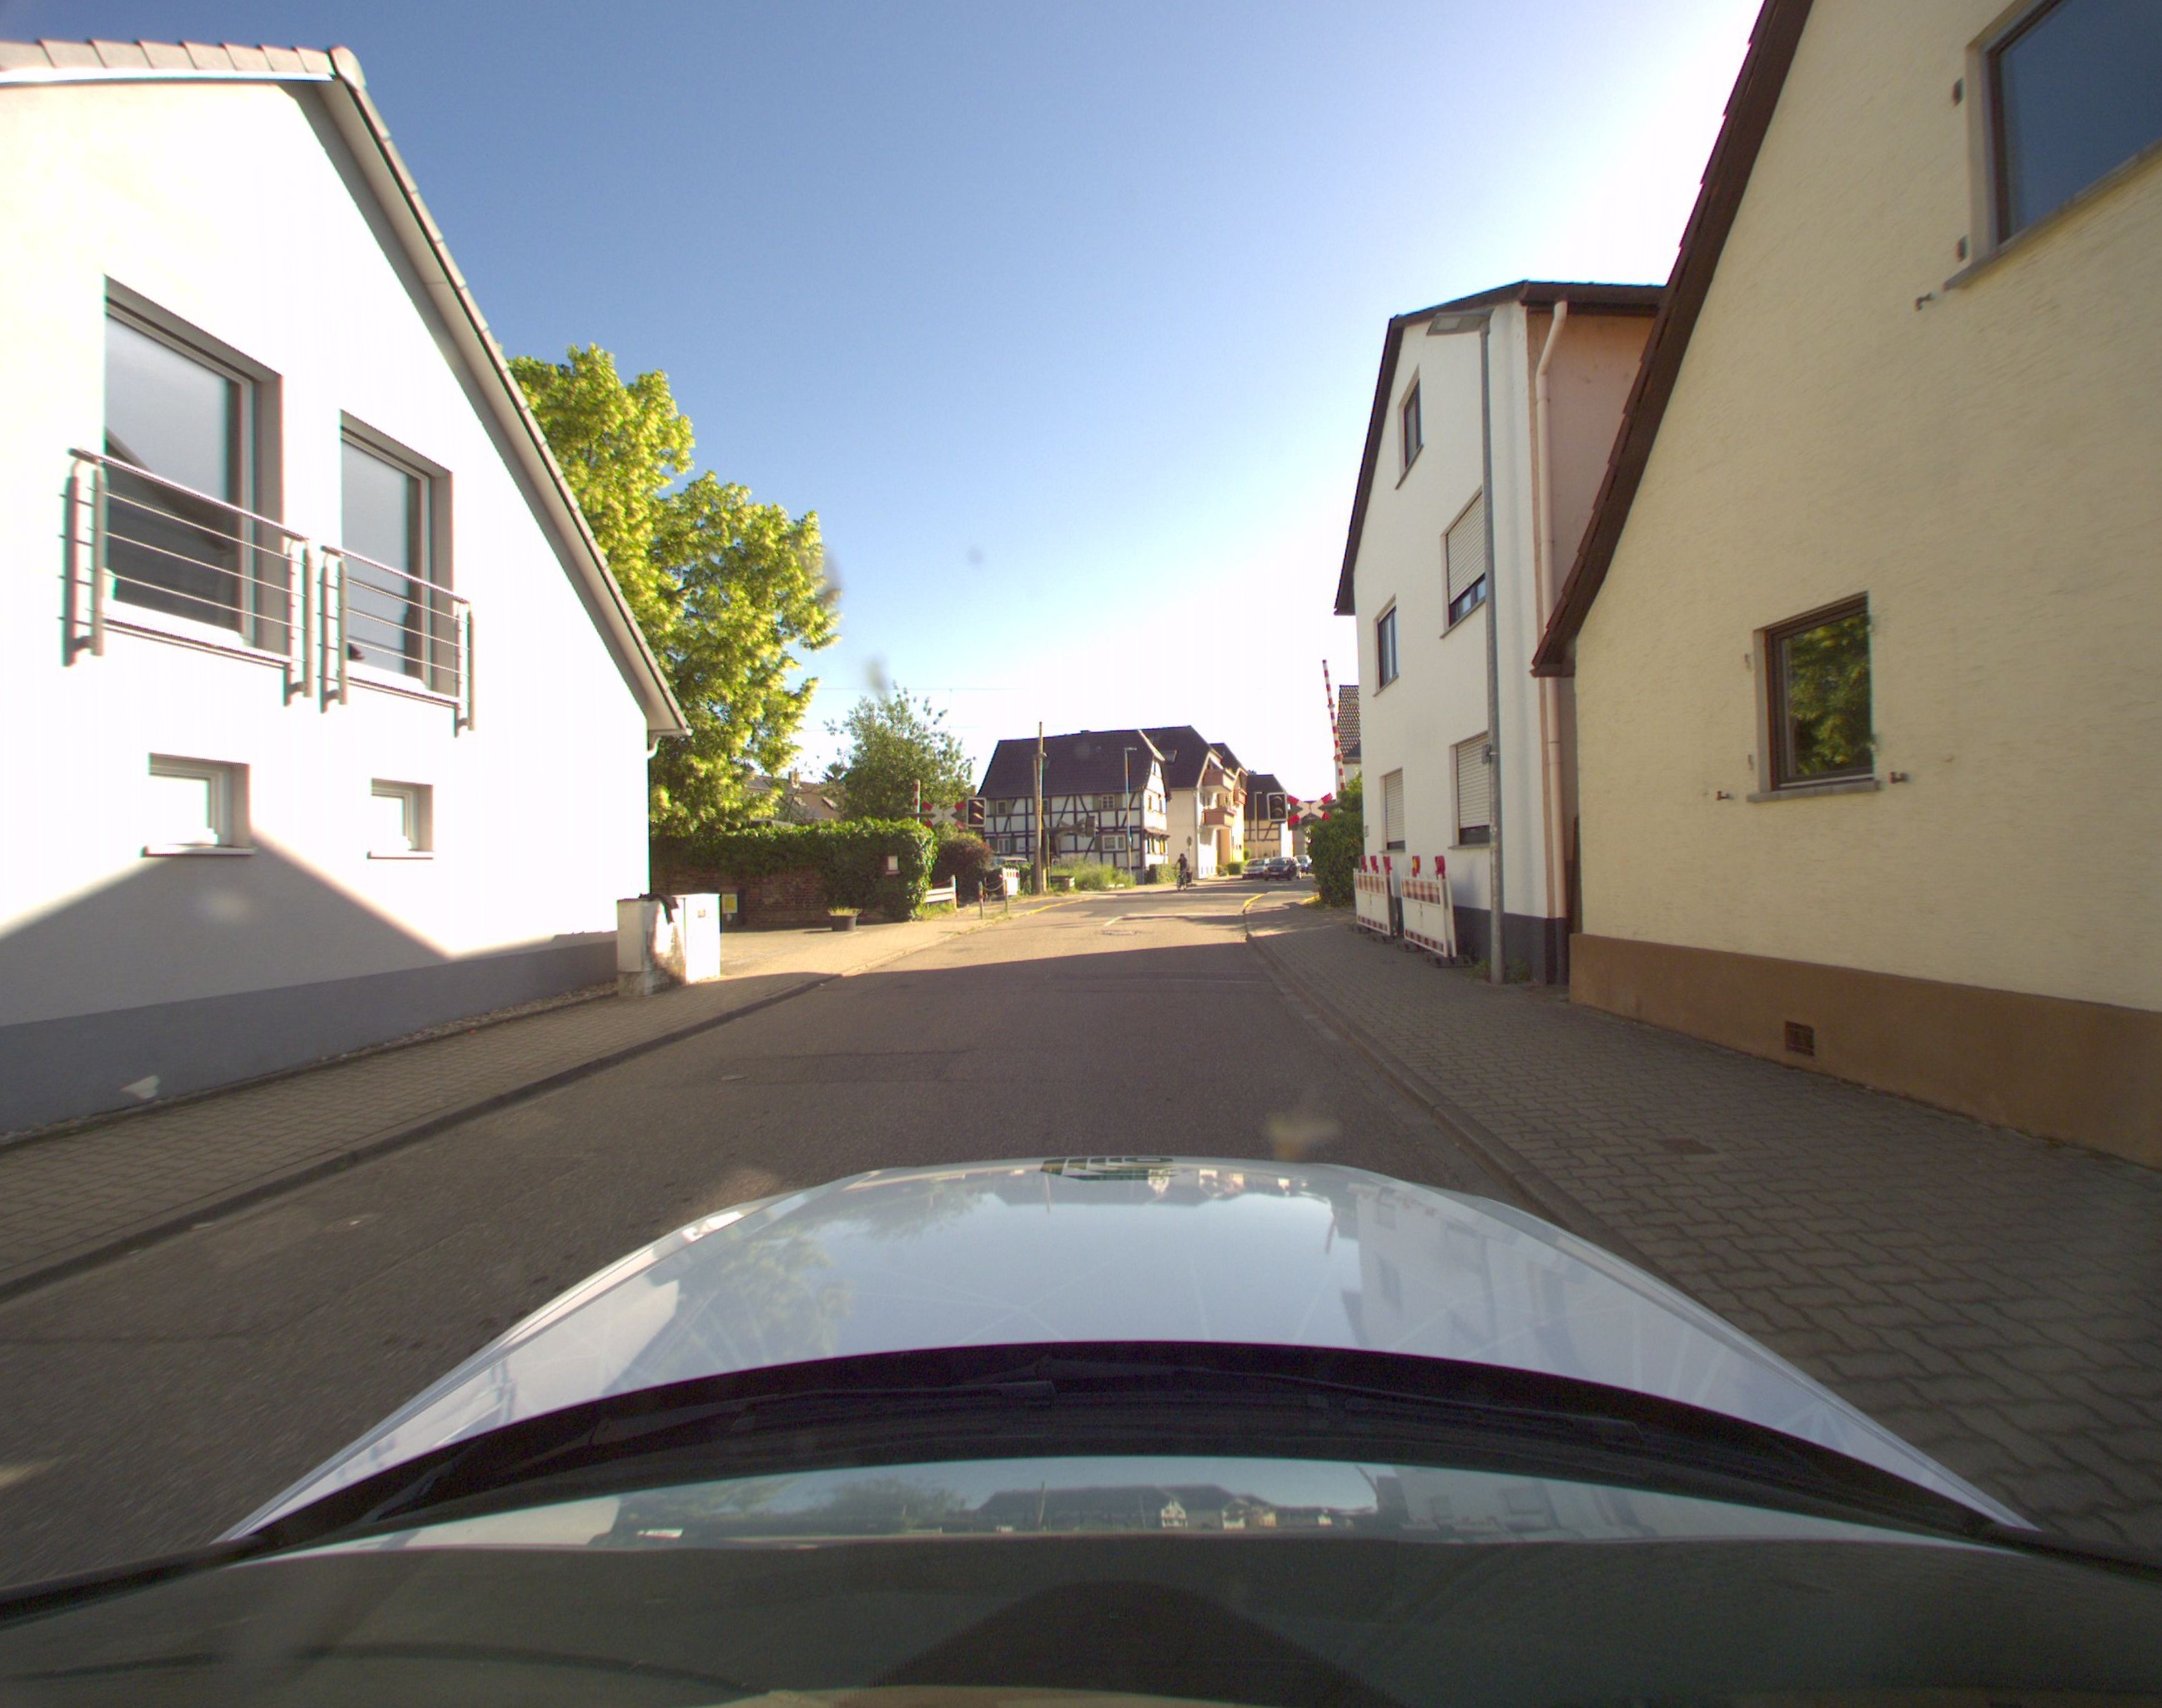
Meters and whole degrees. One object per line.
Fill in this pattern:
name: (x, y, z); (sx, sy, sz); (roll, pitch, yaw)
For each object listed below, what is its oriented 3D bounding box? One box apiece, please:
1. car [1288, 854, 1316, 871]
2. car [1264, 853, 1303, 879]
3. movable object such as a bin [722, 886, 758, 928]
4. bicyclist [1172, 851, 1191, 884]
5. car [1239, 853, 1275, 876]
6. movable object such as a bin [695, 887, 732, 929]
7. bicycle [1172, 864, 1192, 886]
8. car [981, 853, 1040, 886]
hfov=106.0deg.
car: (19.423, 0.738, 71.458); (1.623, 1.441, 4.099); (-3, -2, 26)
car: (13.018, 0.710, 52.193); (1.671, 1.510, 3.676); (1, 1, 26)
movable object such as a bin: (-7.838, 1.219, 18.717); (0.587, 0.934, 0.509); (-1, -2, 9)
bicyclist: (4.822, 0.645, 39.025); (0.844, 1.541, 0.874); (-2, -2, 5)
car: (12.695, 0.754, 58.591); (1.616, 1.506, 3.875); (-5, -2, 24)
movable object such as a bin: (-8.461, 1.244, 18.750); (0.587, 0.934, 0.509); (-1, -2, 9)
bicycle: (4.827, 1.011, 38.959); (0.879, 1.005, 2.066); (-2, -2, 6)
car: (-3.556, 0.763, 40.538); (1.691, 1.564, 3.968); (1, -1, -24)
